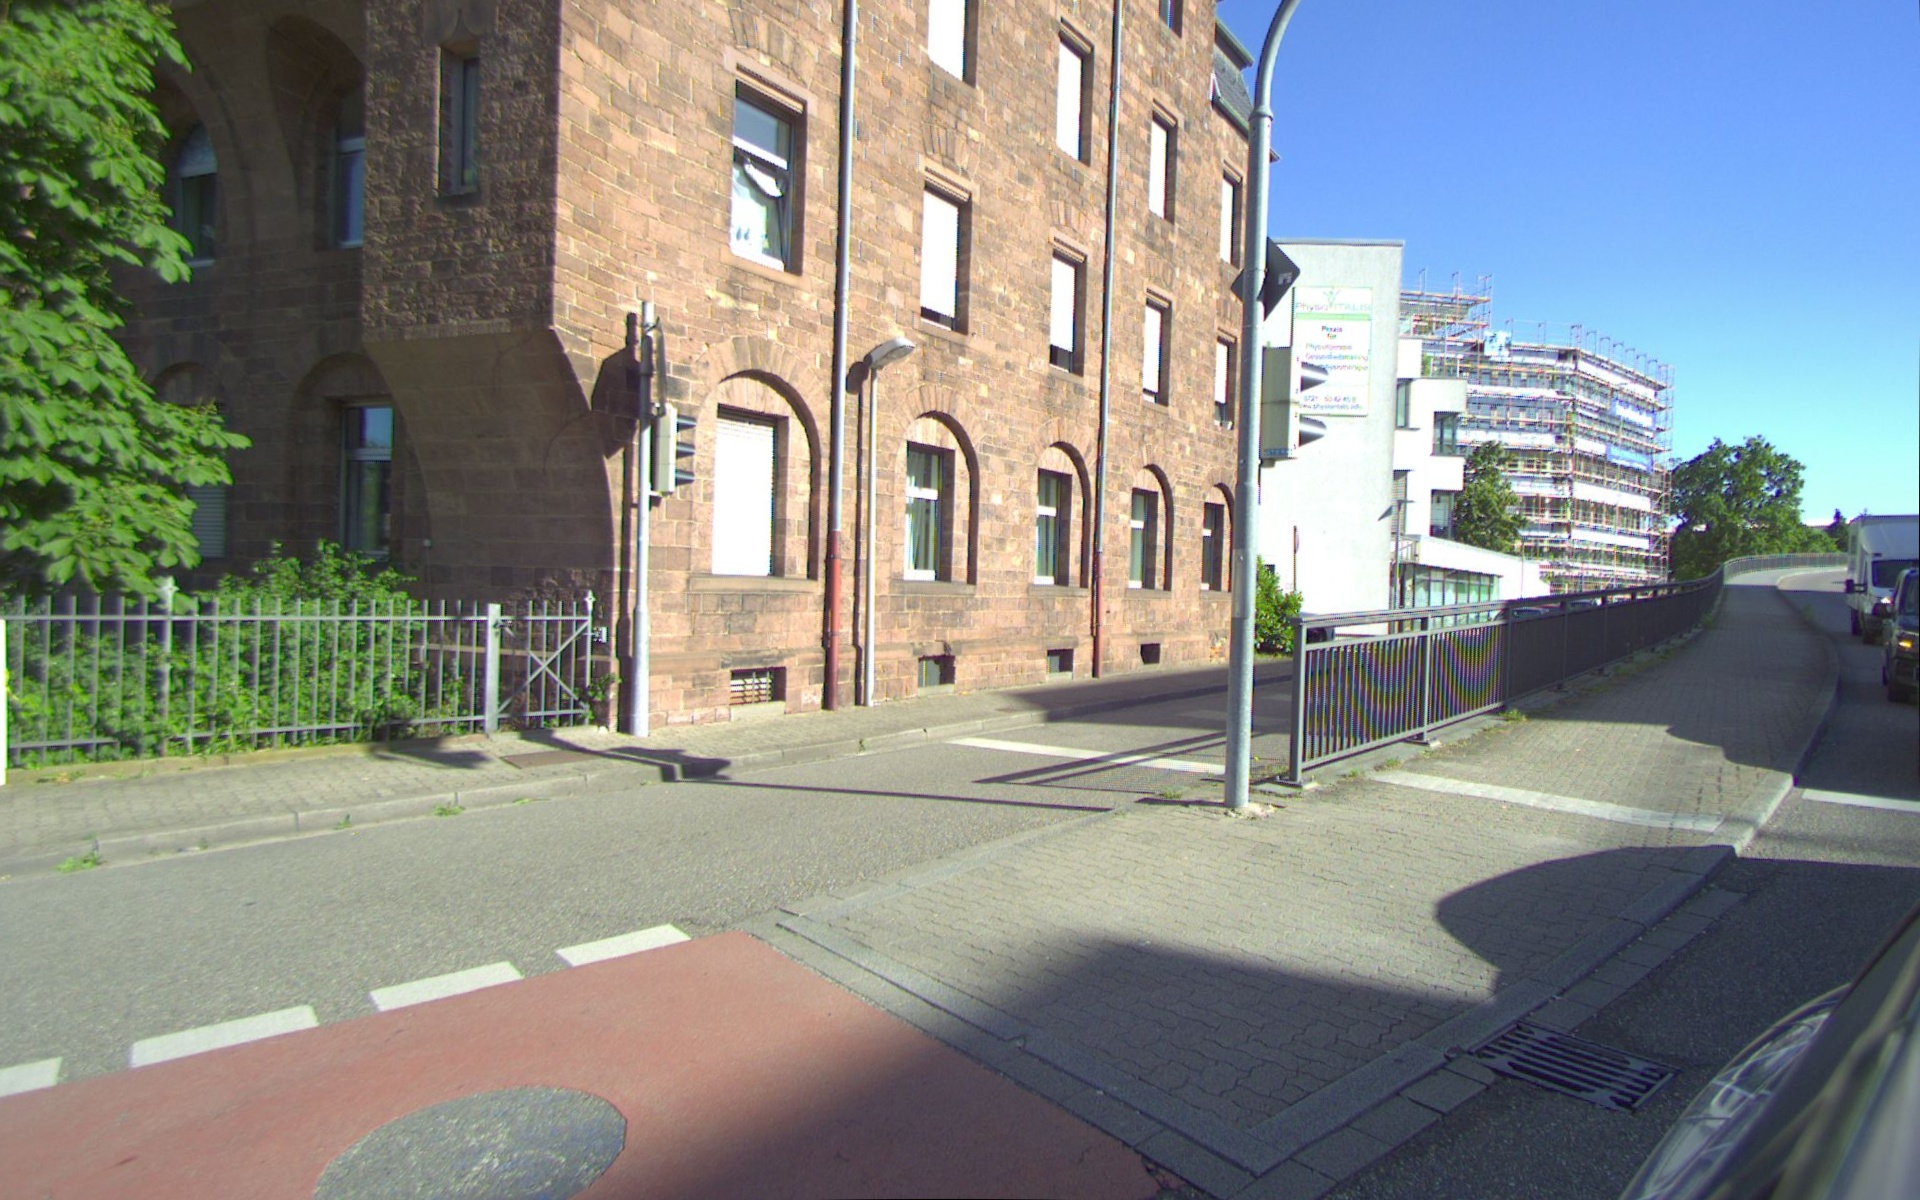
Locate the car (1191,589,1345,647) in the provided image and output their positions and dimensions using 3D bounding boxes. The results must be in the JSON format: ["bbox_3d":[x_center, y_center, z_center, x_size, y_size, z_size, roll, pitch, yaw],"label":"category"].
[{"bbox_3d":[9.111,0.502,30.204,4.020,1.551,1.917,2,0,5],"label":"car"}]

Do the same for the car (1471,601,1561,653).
[{"bbox_3d":[18.580,0.855,33.736,2.043,1.551,4.036,2,0,38],"label":"car"}]

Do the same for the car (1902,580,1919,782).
[{"bbox_3d":[9.286,0.619,8.517,1.875,1.489,4.562,3,2,44],"label":"car"}]

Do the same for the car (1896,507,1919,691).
[{"bbox_3d":[14.150,0.041,13.823,1.945,2.290,4.710,2,1,43],"label":"car"}]

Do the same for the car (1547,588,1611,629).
[{"bbox_3d":[27.605,0.363,45.065,2.043,1.707,4.037,2,0,37],"label":"car"}]

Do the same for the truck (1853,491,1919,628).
[{"bbox_3d":[24.520,-0.903,25.798,2.495,3.167,6.855,2,1,41],"label":"truck"}]

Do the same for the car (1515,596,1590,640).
[{"bbox_3d":[23.102,0.681,39.400,2.043,1.551,4.037,2,0,37],"label":"car"}]
